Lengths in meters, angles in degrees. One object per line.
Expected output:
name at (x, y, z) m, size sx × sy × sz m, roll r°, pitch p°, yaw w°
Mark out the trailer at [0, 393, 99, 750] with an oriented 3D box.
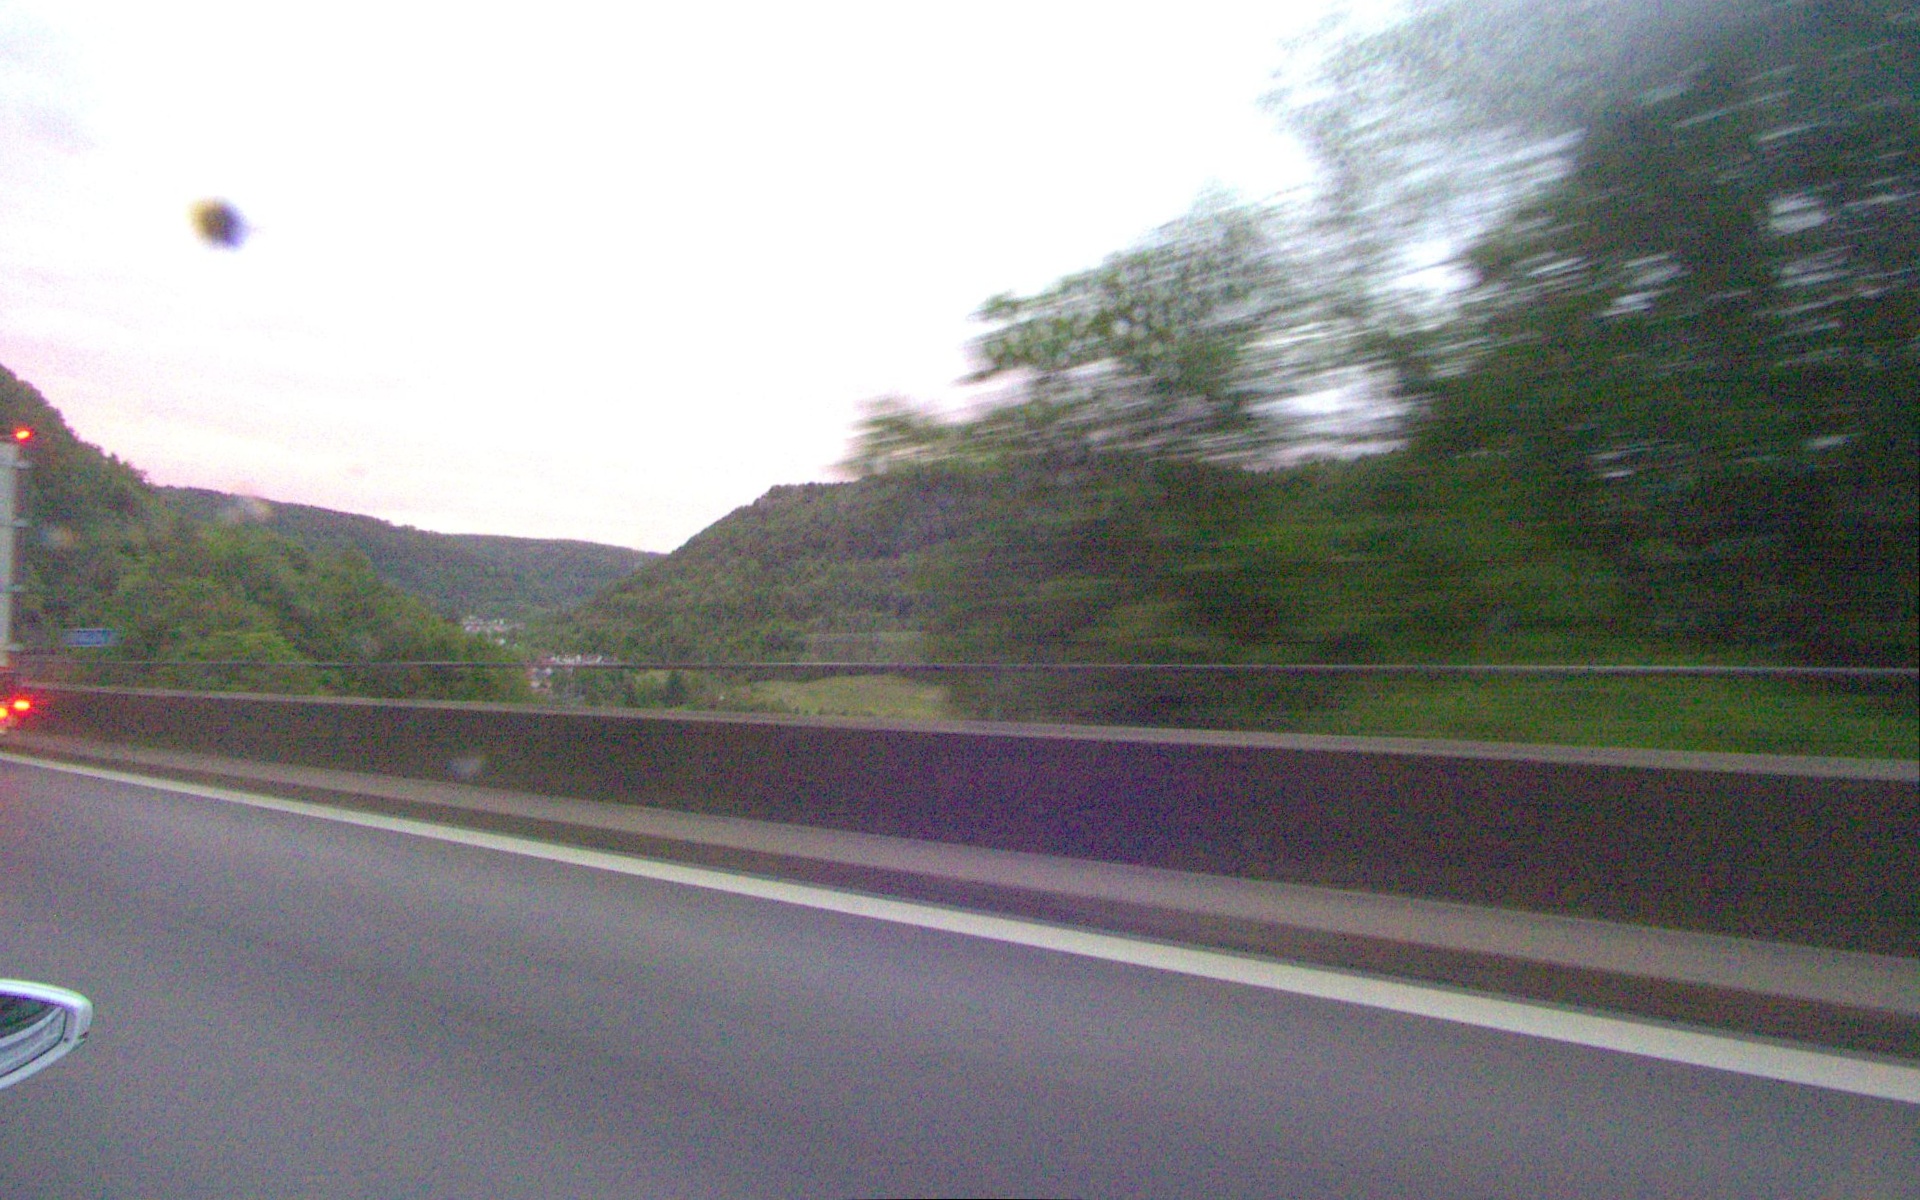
trailer at (-17.036, -0.134, 14.570) m, size 14.022 × 4.019 × 3.092 m, roll -2°, pitch -3°, yaw 34°
